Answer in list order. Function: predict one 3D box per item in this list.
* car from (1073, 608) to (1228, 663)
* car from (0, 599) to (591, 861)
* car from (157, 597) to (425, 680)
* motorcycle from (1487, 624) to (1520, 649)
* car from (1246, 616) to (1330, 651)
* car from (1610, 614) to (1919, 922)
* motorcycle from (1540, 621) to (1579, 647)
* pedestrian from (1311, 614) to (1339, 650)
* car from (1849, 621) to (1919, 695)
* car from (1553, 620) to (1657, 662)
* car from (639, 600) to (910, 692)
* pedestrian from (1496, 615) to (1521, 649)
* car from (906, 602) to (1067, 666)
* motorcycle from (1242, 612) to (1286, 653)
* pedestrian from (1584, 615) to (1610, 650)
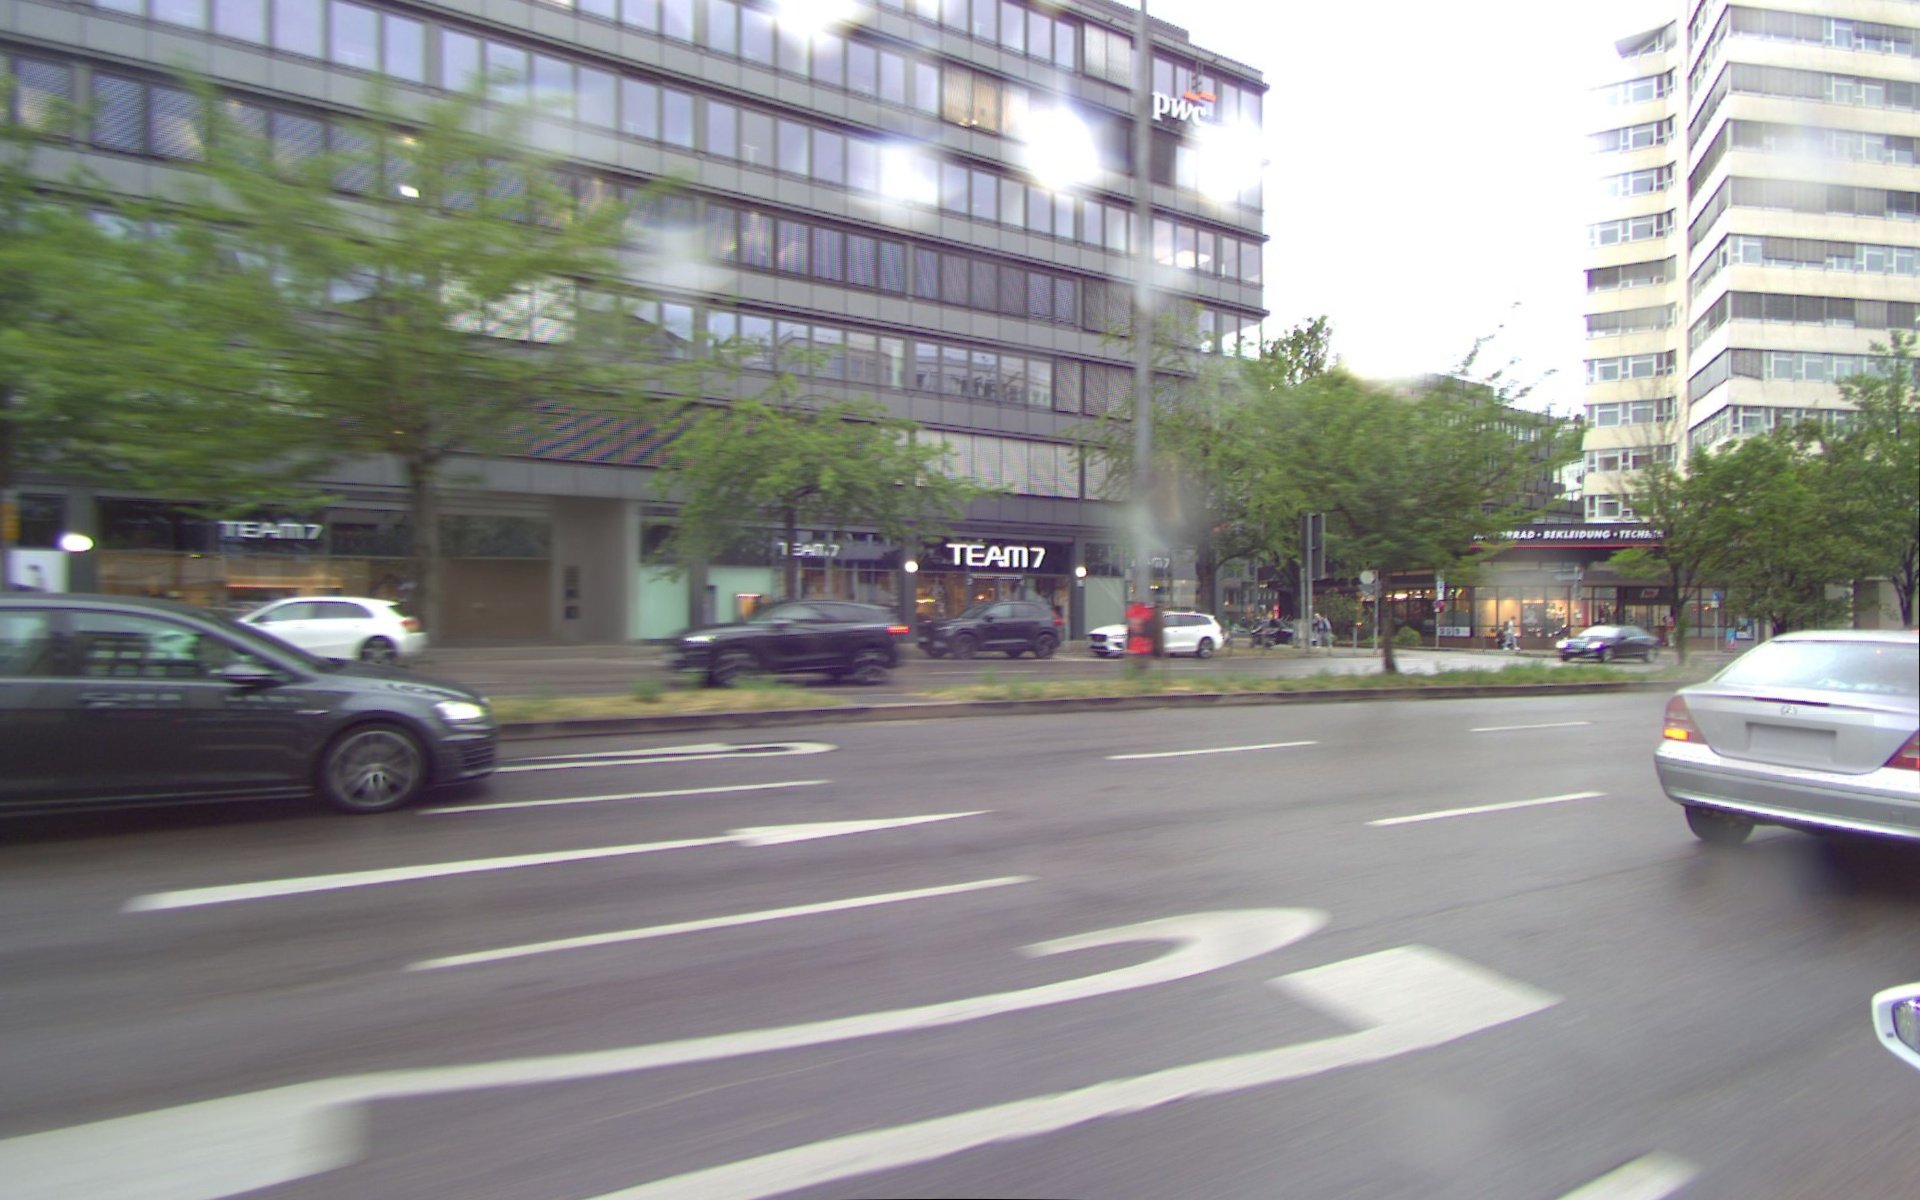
[{"bbox_3d":[6.023,1.107,31.643,4.716,1.505,1.800,1,2,-30],"label":"car"},{"bbox_3d":[-5.150,0.736,6.898,4.639,1.470,1.827,0,0,-34],"label":"car"},{"bbox_3d":[-13.159,0.736,20.024,4.264,1.464,1.798,1,0,-33],"label":"car"},{"bbox_3d":[31.148,2.076,57.606,0.709,1.351,2.822,2,0,8],"label":"motorcycle"},{"bbox_3d":[17.495,1.764,53.704,1.976,1.662,3.969,2,0,-29],"label":"car"},{"bbox_3d":[6.255,0.880,6.533,4.145,1.505,1.675,1,-1,-29],"label":"car"},{"bbox_3d":[34.058,1.893,57.092,0.788,1.392,2.894,2,0,7],"label":"motorcycle"},{"bbox_3d":[16.830,1.475,46.294,0.954,1.659,0.780,1,-1,-30],"label":"pedestrian"},{"bbox_3d":[22.280,1.284,22.800,4.432,1.564,1.983,1,-1,-32],"label":"car"},{"bbox_3d":[24.844,1.565,38.655,4.255,1.495,1.798,1,-1,-33],"label":"car"},{"bbox_3d":[-3.410,0.817,18.815,4.666,1.536,1.798,1,-1,-33],"label":"car"},{"bbox_3d":[30.370,1.781,55.638,0.908,1.857,0.818,1,0,-9],"label":"pedestrian"},{"bbox_3d":[0.765,0.951,28.610,4.257,1.683,1.801,1,0,-29],"label":"car"},{"bbox_3d":[11.408,1.207,37.660,0.845,1.412,2.363,4,1,33],"label":"motorcycle"},{"bbox_3d":[34.165,1.719,53.886,0.908,1.857,0.728,1,0,-10],"label":"pedestrian"}]
